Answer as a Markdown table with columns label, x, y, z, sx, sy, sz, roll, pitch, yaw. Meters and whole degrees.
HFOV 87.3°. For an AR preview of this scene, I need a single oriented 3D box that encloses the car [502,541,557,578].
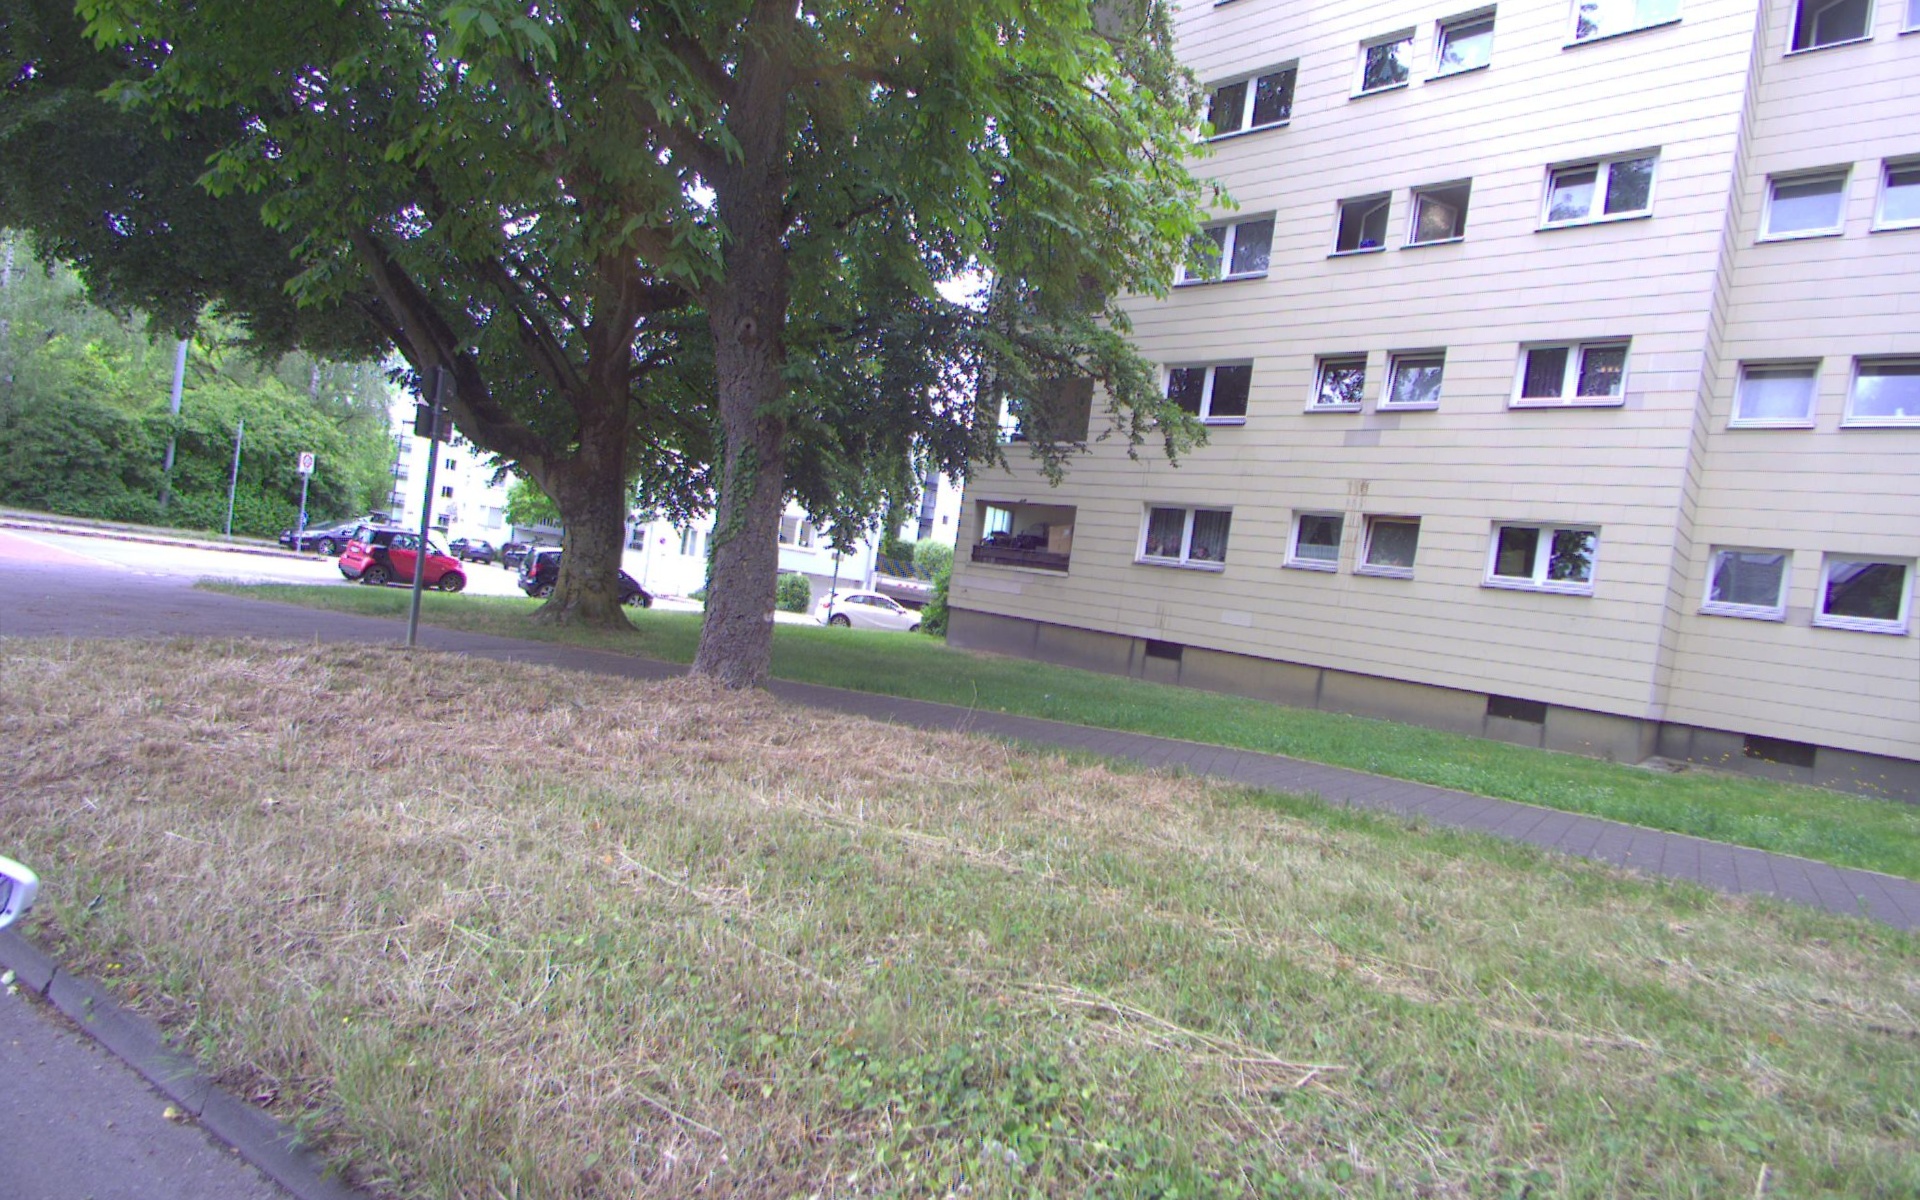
| label | x | y | z | sx | sy | sz | roll | pitch | yaw |
| --- | --- | --- | --- | --- | --- | --- | --- | --- | --- |
| car | -23.179 | -2.199 | 54.072 | 1.713 | 1.631 | 3.813 | 6 | 1 | -38 |

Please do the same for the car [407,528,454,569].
| label | x | y | z | sx | sy | sz | roll | pitch | yaw |
| --- | --- | --- | --- | --- | --- | --- | --- | --- | --- |
| car | -24.869 | -2.443 | 47.184 | 1.709 | 1.631 | 3.823 | 6 | 1 | -30 |

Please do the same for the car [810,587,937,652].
| label | x | y | z | sx | sy | sz | roll | pitch | yaw |
| --- | --- | --- | --- | --- | --- | --- | --- | --- | --- |
| car | -2.878 | 0.629 | 33.308 | 3.796 | 1.631 | 1.721 | 7 | 1 | -18 |

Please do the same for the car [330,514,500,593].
| label | x | y | z | sx | sy | sz | roll | pitch | yaw |
| --- | --- | --- | --- | --- | --- | --- | --- | --- | --- |
| car | -14.522 | -1.211 | 26.947 | 1.702 | 1.631 | 3.516 | 8 | 1 | 37 |

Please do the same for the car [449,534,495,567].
| label | x | y | z | sx | sy | sz | roll | pitch | yaw |
| --- | --- | --- | --- | --- | --- | --- | --- | --- | --- |
| car | -30.103 | -3.073 | 62.025 | 1.713 | 1.631 | 3.813 | 6 | 1 | -38 |

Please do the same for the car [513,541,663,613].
| label | x | y | z | sx | sy | sz | roll | pitch | yaw |
| --- | --- | --- | --- | --- | --- | --- | --- | --- | --- |
| car | -11.051 | -0.678 | 29.921 | 3.814 | 1.631 | 1.713 | 6 | 1 | -33 |

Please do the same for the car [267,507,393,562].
| label | x | y | z | sx | sy | sz | roll | pitch | yaw |
| --- | --- | --- | --- | --- | --- | --- | --- | --- | --- |
| car | -23.395 | -2.407 | 37.432 | 1.702 | 1.549 | 3.515 | 8 | 1 | 38 |
